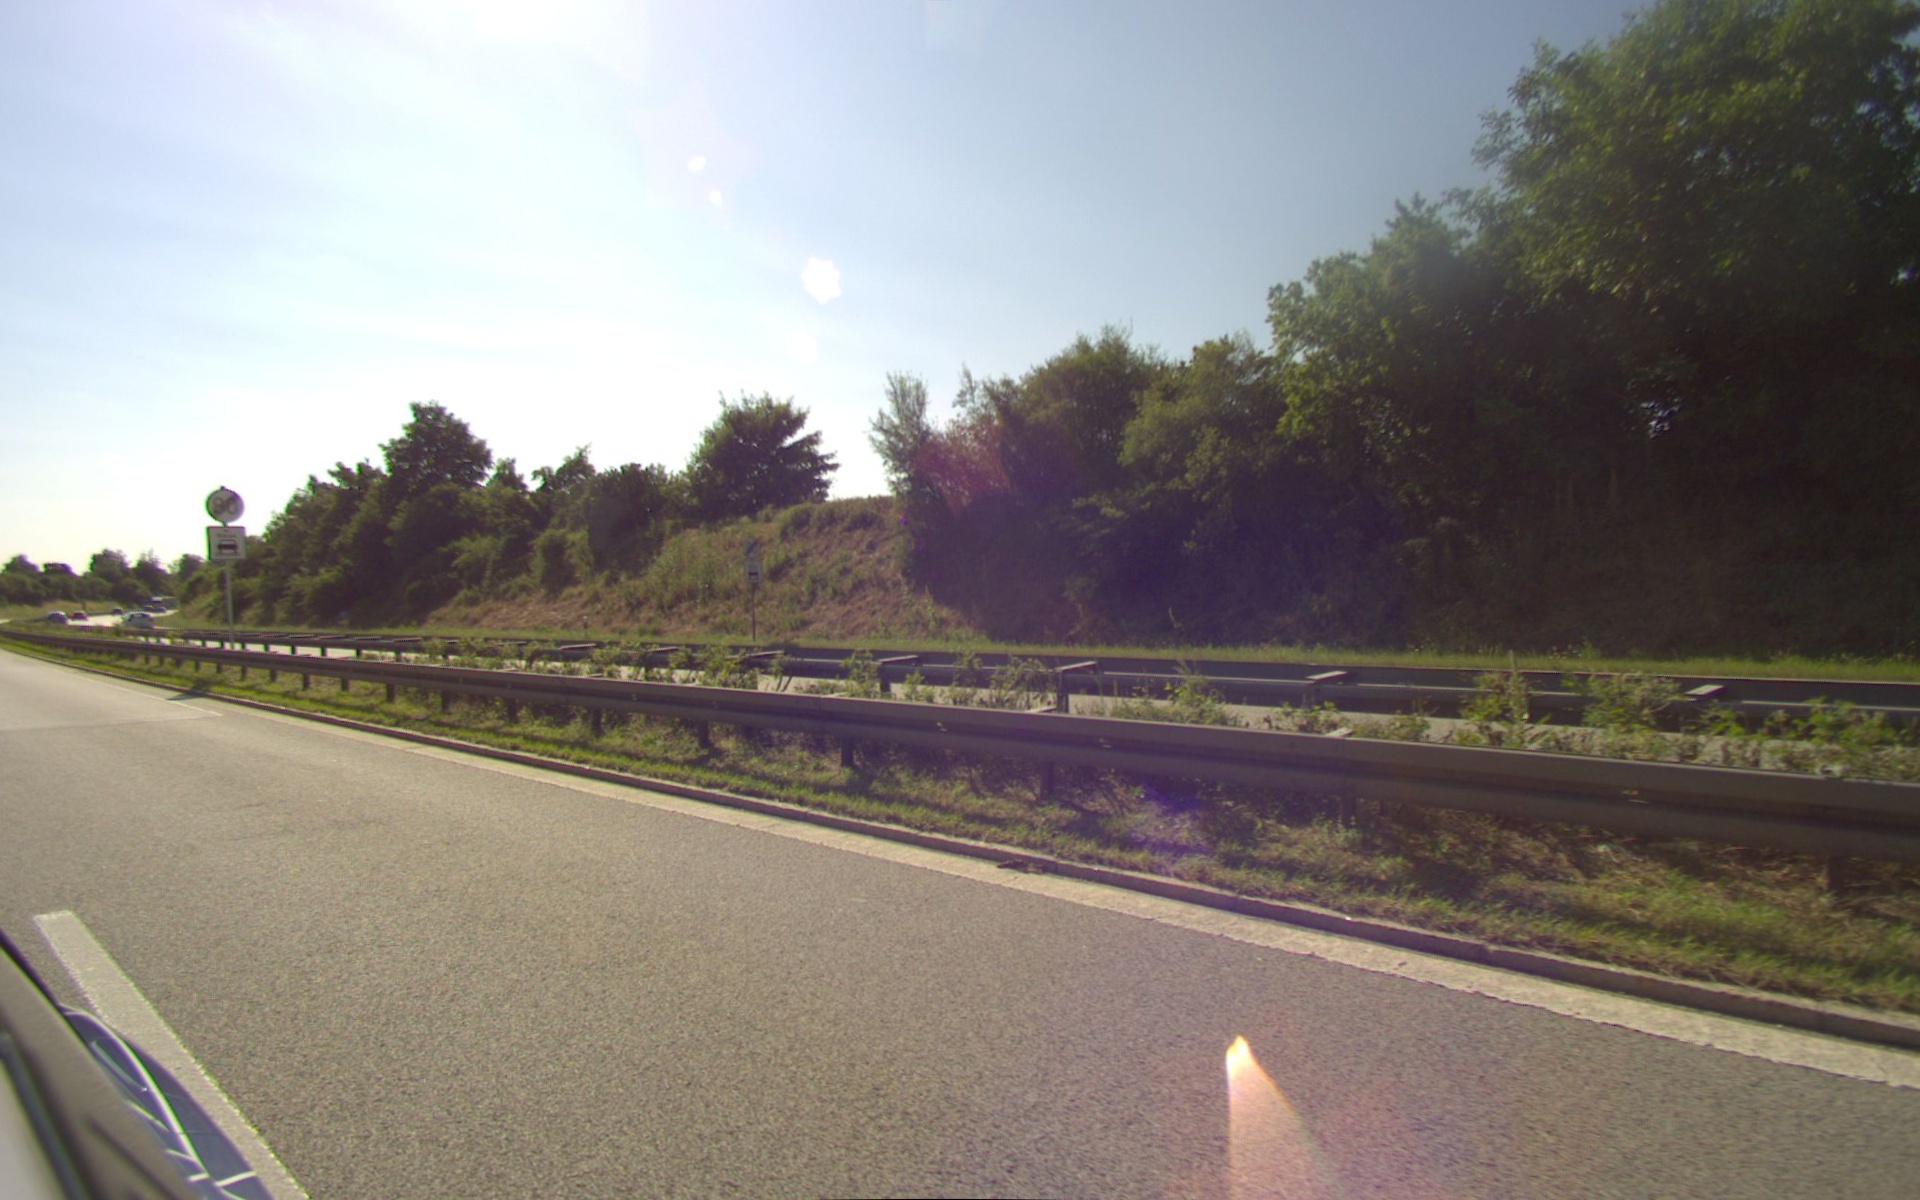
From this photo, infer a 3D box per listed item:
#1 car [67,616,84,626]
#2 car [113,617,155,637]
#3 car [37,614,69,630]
[{"bbox_3d":[-134.604,3.199,154.008,4.909,1.465,1.626,0,0,45],"label":"car"},{"bbox_3d":[-63.056,2.068,77.261,4.411,1.449,1.820,-1,-1,42],"label":"car"},{"bbox_3d":[-90.736,2.215,101.241,4.676,1.557,1.972,-1,-1,43],"label":"car"}]
